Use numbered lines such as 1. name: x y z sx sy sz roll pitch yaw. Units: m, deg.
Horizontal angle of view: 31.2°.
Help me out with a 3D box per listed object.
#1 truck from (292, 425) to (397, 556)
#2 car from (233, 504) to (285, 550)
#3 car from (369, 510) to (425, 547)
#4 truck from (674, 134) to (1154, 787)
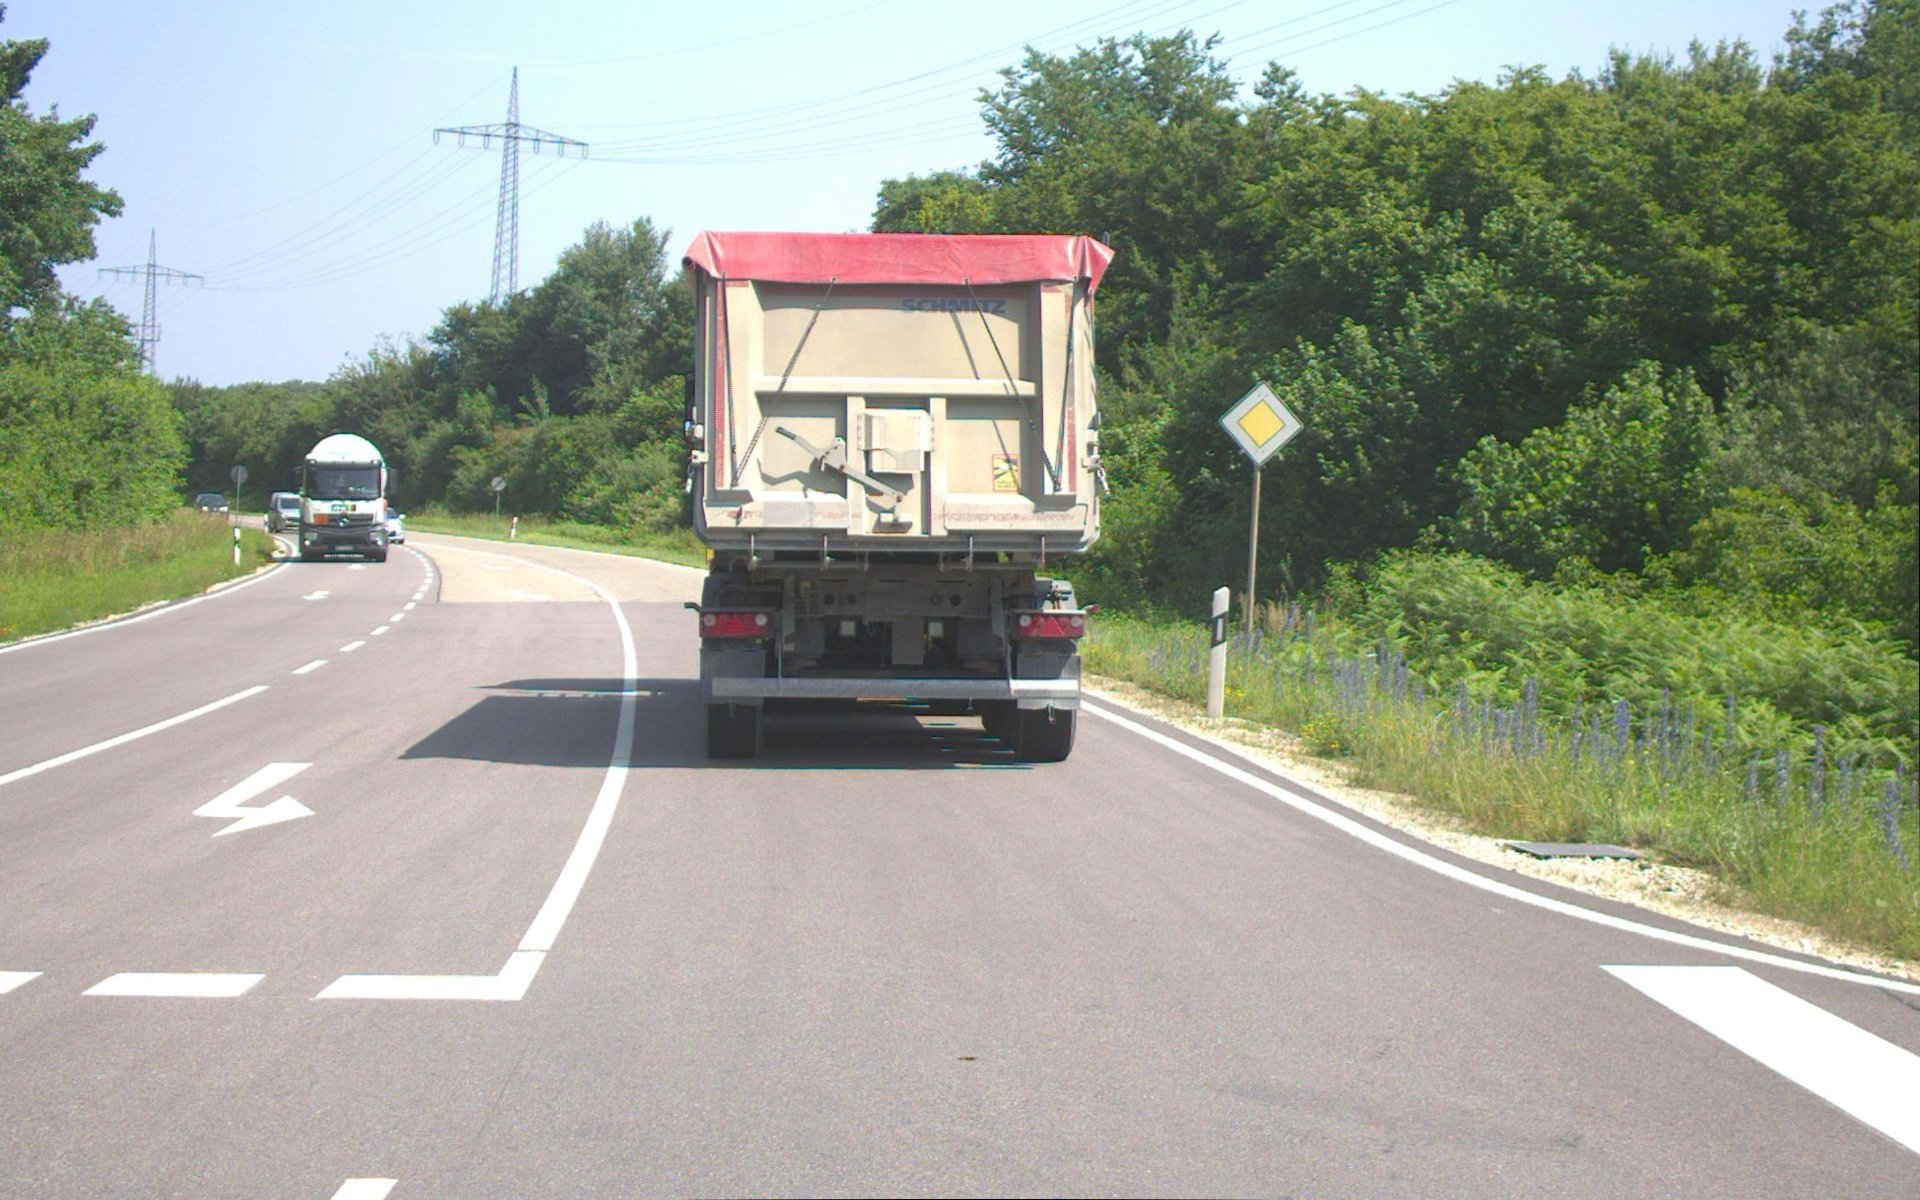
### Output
1. truck: -17.943 -3.160 100.620 2.626 3.658 8.798 0 1 -8
2. car: -27.992 -2.896 137.344 1.842 1.773 4.895 0 1 -9
3. car: -21.873 -2.765 133.731 1.708 1.414 4.099 0 1 -3
4. truck: -0.713 -0.983 26.898 2.893 3.949 11.935 0 1 -4
